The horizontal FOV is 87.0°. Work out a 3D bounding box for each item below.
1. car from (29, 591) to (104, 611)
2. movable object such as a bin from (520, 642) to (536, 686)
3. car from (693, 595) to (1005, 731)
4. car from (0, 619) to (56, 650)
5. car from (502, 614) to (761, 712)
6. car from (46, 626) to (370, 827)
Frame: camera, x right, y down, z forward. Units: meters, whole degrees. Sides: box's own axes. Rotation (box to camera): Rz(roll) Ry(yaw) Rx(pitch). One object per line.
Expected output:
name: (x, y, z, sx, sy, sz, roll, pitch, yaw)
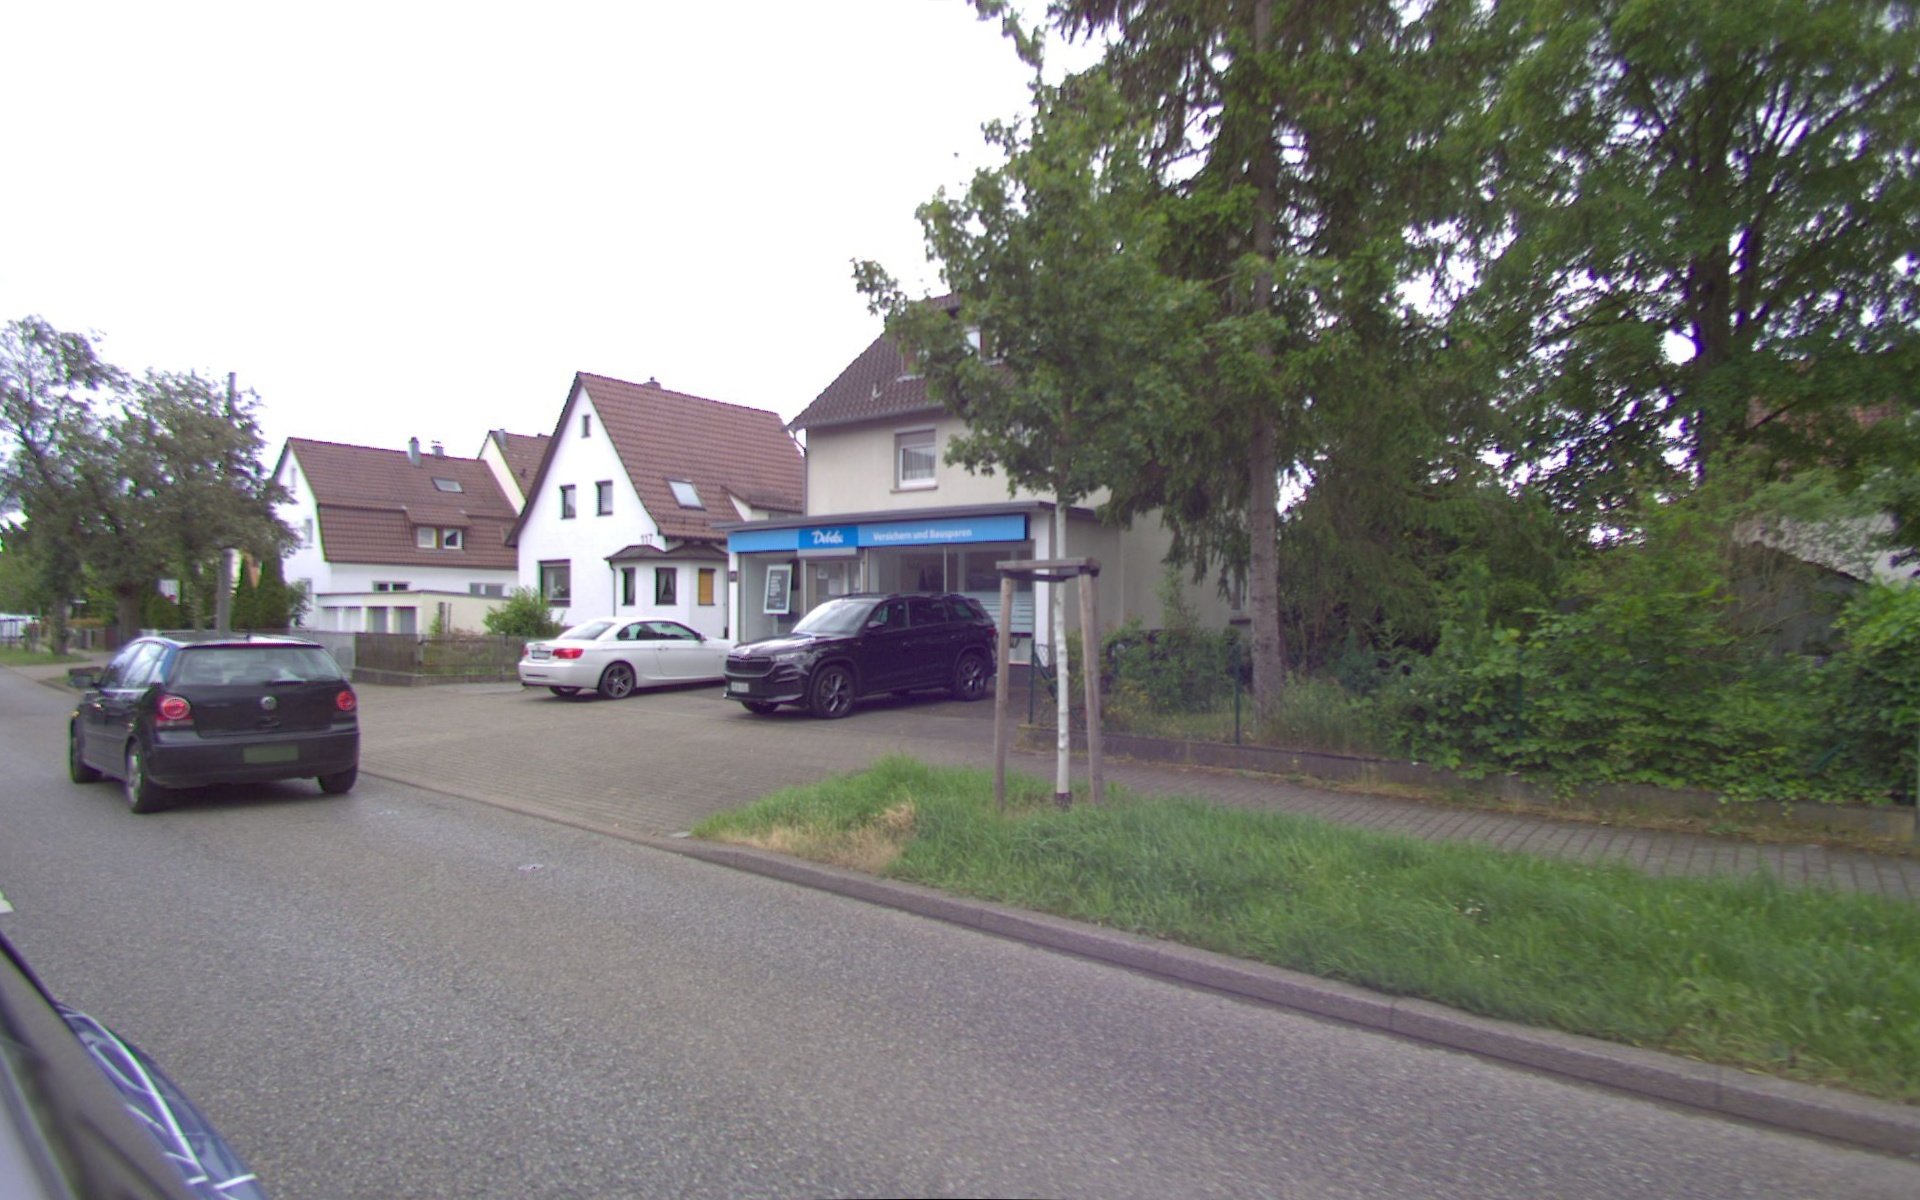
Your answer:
car: (-76.368, 0.077, 86.513, 1.999, 1.633, 4.585, -3, -1, 41)
movable object such as a bin: (-9.600, 1.418, 22.490, 0.428, 0.967, 0.131, -2, -1, 38)
car: (-1.487, 0.781, 14.830, 1.973, 1.630, 4.286, -1, 0, 43)
car: (-82.627, 2.982, 88.006, 5.526, 2.583, 2.137, 2, -2, -29)
car: (-5.840, 1.045, 18.457, 1.812, 1.378, 4.241, -1, 1, 36)
car: (-7.002, 0.999, 9.326, 3.467, 1.483, 1.559, -1, -2, 39)
